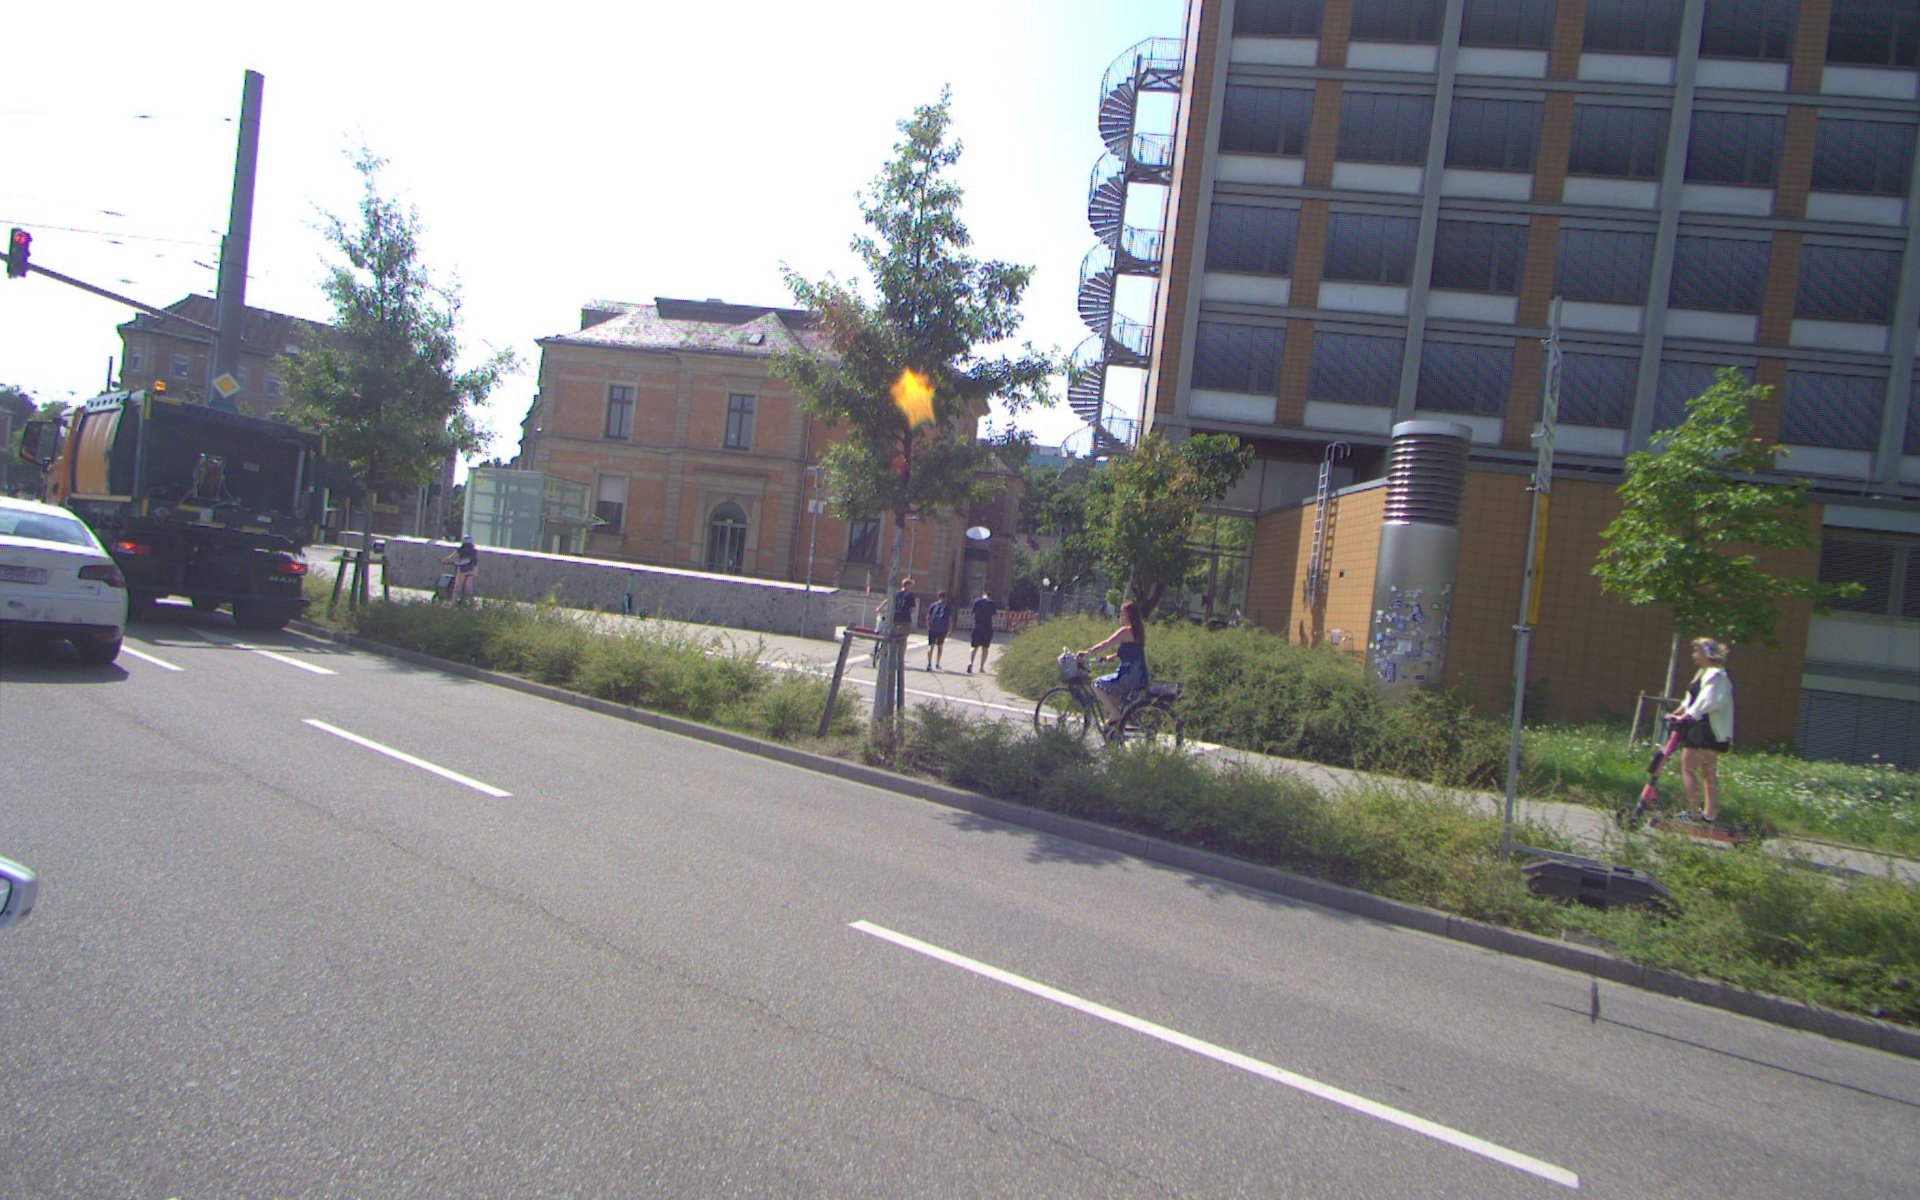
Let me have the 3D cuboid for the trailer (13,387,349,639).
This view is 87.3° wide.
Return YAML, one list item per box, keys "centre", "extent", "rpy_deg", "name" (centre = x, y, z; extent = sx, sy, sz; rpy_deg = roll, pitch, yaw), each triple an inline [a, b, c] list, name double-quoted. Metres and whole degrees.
- centre: [-12.284, -1.349, 15.650]
  extent: [6.231, 3.043, 2.463]
  rpy_deg: [7, -1, 38]
  name: "trailer"

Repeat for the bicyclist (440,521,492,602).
- centre: [-9.872, -0.778, 20.081]
  extent: [0.792, 1.515, 0.548]
  rpy_deg: [7, 1, 41]
  name: "bicyclist"

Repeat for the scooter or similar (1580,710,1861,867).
- centre: [7.109, 1.737, 9.545]
  extent: [1.969, 1.075, 0.556]
  rpy_deg: [5, 4, 28]
  name: "scooter or similar"

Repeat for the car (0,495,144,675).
- centre: [-9.760, -0.326, 9.822]
  extent: [4.359, 1.473, 1.757]
  rpy_deg: [7, 0, 38]
  name: "car"

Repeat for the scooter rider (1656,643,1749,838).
- centre: [7.039, 1.298, 9.568]
  extent: [0.530, 1.723, 0.669]
  rpy_deg: [6, 4, 35]
  name: "scooter rider"

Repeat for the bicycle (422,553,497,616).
- centre: [-10.088, -0.322, 20.239]
  extent: [1.976, 1.073, 0.555]
  rpy_deg: [7, 1, 41]
  name: "bicycle"

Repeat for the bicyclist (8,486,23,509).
- centre: [-52.579, -5.708, 56.001]
  extent: [0.500, 1.203, 0.502]
  rpy_deg: [6, 1, -37]
  name: "bicyclist"

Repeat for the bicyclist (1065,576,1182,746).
- centre: [1.699, 0.608, 10.451]
  extent: [0.831, 1.621, 0.689]
  rpy_deg: [8, 4, 37]
  name: "bicyclist"

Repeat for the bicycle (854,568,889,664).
- centre: [-1.829, 0.325, 20.850]
  extent: [0.448, 1.884, 1.362]
  rpy_deg: [6, 1, -2]
  name: "bicycle"

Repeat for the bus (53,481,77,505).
- centre: [-147.068, -17.544, 165.306]
  extent: [2.551, 3.550, 7.710]
  rpy_deg: [6, 1, -41]
  name: "bus"

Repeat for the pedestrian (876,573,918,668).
- centre: [-1.307, 0.423, 21.051]
  extent: [0.650, 1.884, 0.792]
  rpy_deg: [6, 1, -1]
  name: "pedestrian"

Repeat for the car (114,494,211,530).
- centre: [-45.514, -5.022, 57.500]
  extent: [1.703, 1.437, 3.903]
  rpy_deg: [7, 0, 26]
  name: "car"

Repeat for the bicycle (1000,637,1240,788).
- centre: [1.615, 1.105, 10.513]
  extent: [2.335, 1.170, 0.693]
  rpy_deg: [7, 3, 37]
  name: "bicycle"

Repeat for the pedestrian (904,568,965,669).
- centre: [-0.537, 0.380, 21.044]
  extent: [0.774, 1.998, 0.745]
  rpy_deg: [5, 2, -39]
  name: "pedestrian"

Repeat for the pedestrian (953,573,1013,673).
- centre: [0.479, 0.486, 21.346]
  extent: [0.774, 1.998, 0.745]
  rpy_deg: [5, 2, -39]
  name: "pedestrian"

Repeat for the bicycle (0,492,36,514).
- centre: [-52.583, -5.385, 56.026]
  extent: [1.582, 0.997, 0.502]
  rpy_deg: [7, 1, -37]
  name: "bicycle"
